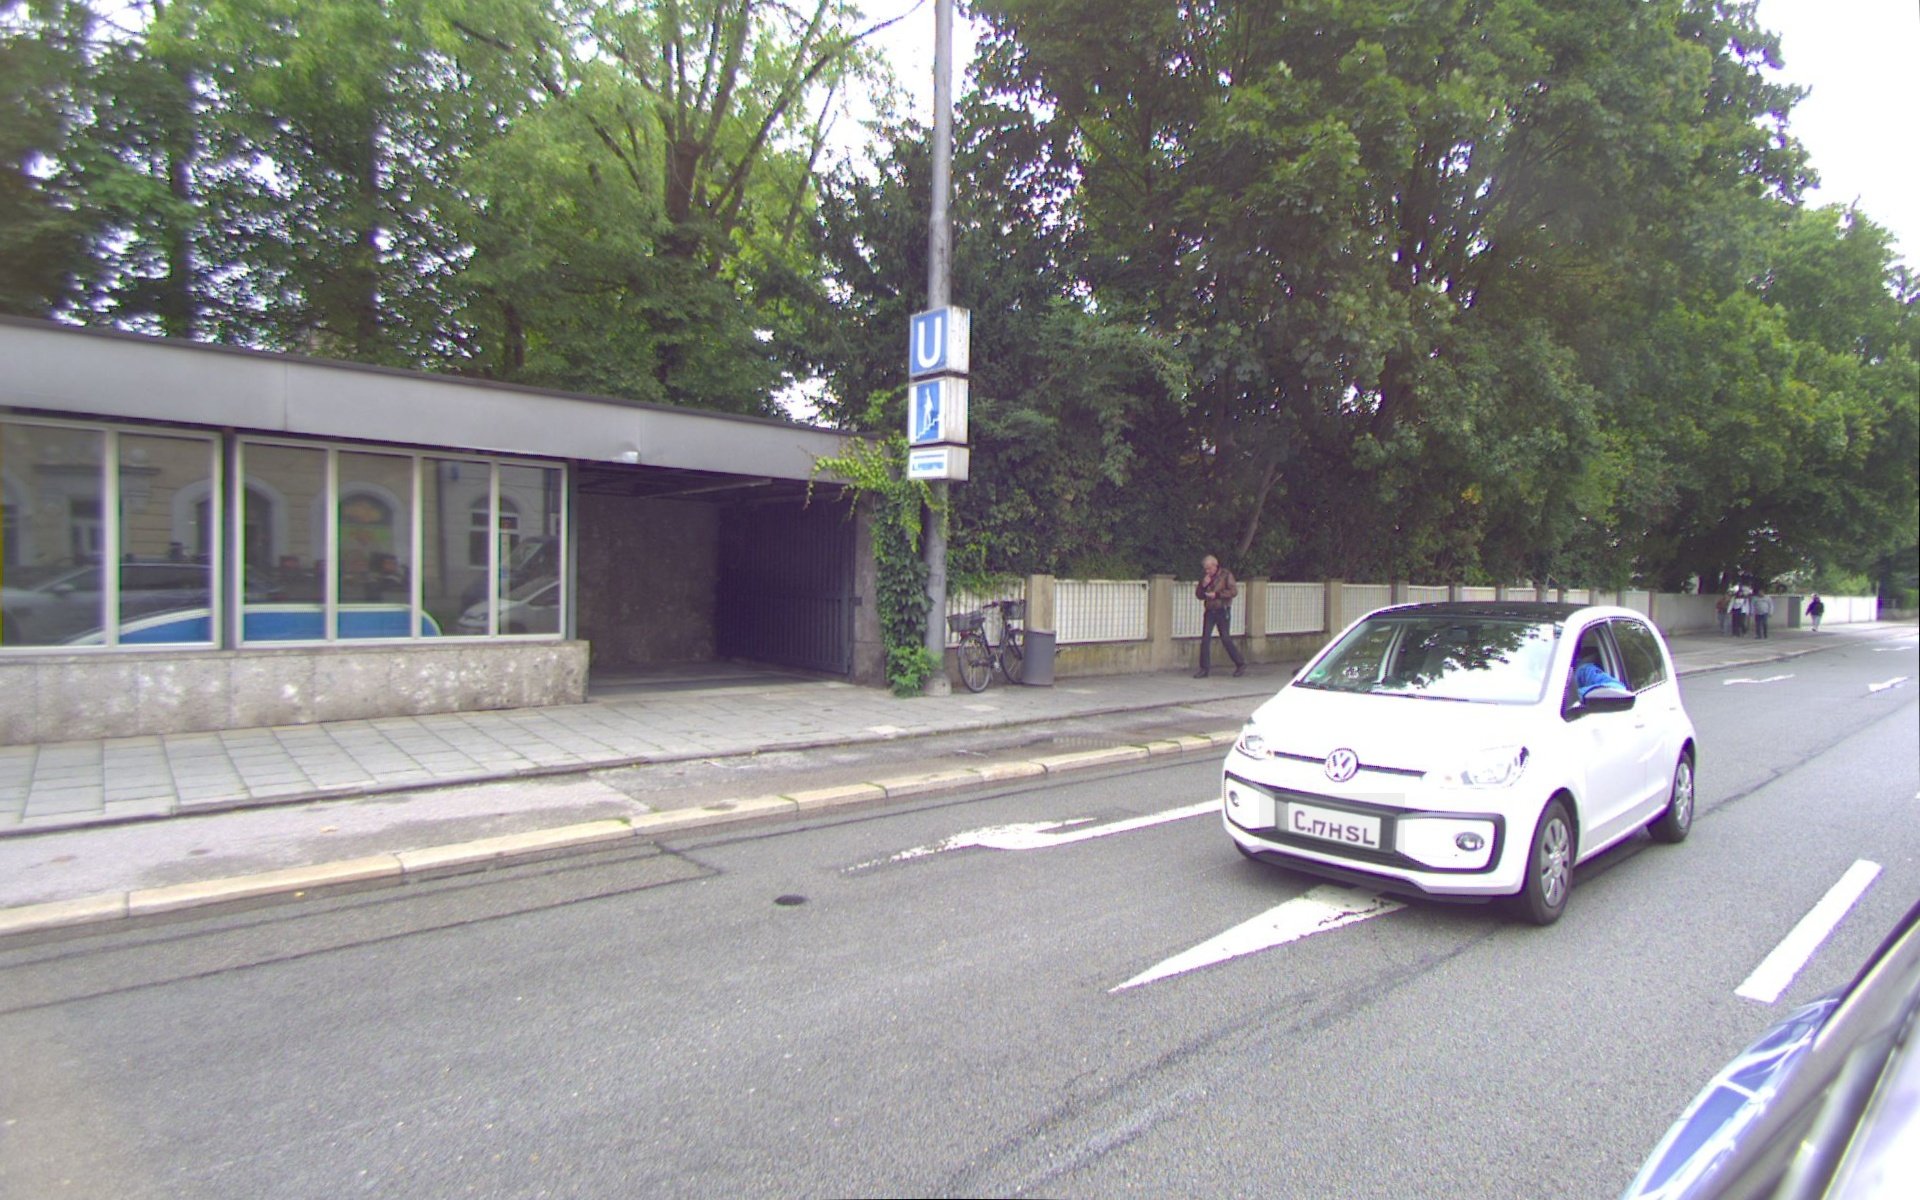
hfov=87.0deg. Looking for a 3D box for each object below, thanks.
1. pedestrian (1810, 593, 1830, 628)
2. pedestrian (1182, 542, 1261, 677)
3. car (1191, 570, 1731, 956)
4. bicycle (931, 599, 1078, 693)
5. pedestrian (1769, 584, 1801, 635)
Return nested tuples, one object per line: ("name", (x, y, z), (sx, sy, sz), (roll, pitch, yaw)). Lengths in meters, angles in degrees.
("pedestrian", (40.088, 0.498, 47.164), (0.716, 1.600, 0.529), (0, 3, -42))
("pedestrian", (3.952, 0.116, 15.294), (0.788, 1.966, 0.779), (0, 2, -40))
("car", (3.094, 0.649, 5.956), (3.524, 1.581, 1.645), (0, 1, -42))
("bicycle", (0.598, 0.543, 12.908), (1.991, 1.104, 0.623), (0, 1, -41))
("pedestrian", (28.656, 0.317, 35.131), (0.753, 1.726, 0.667), (0, 3, -42))
